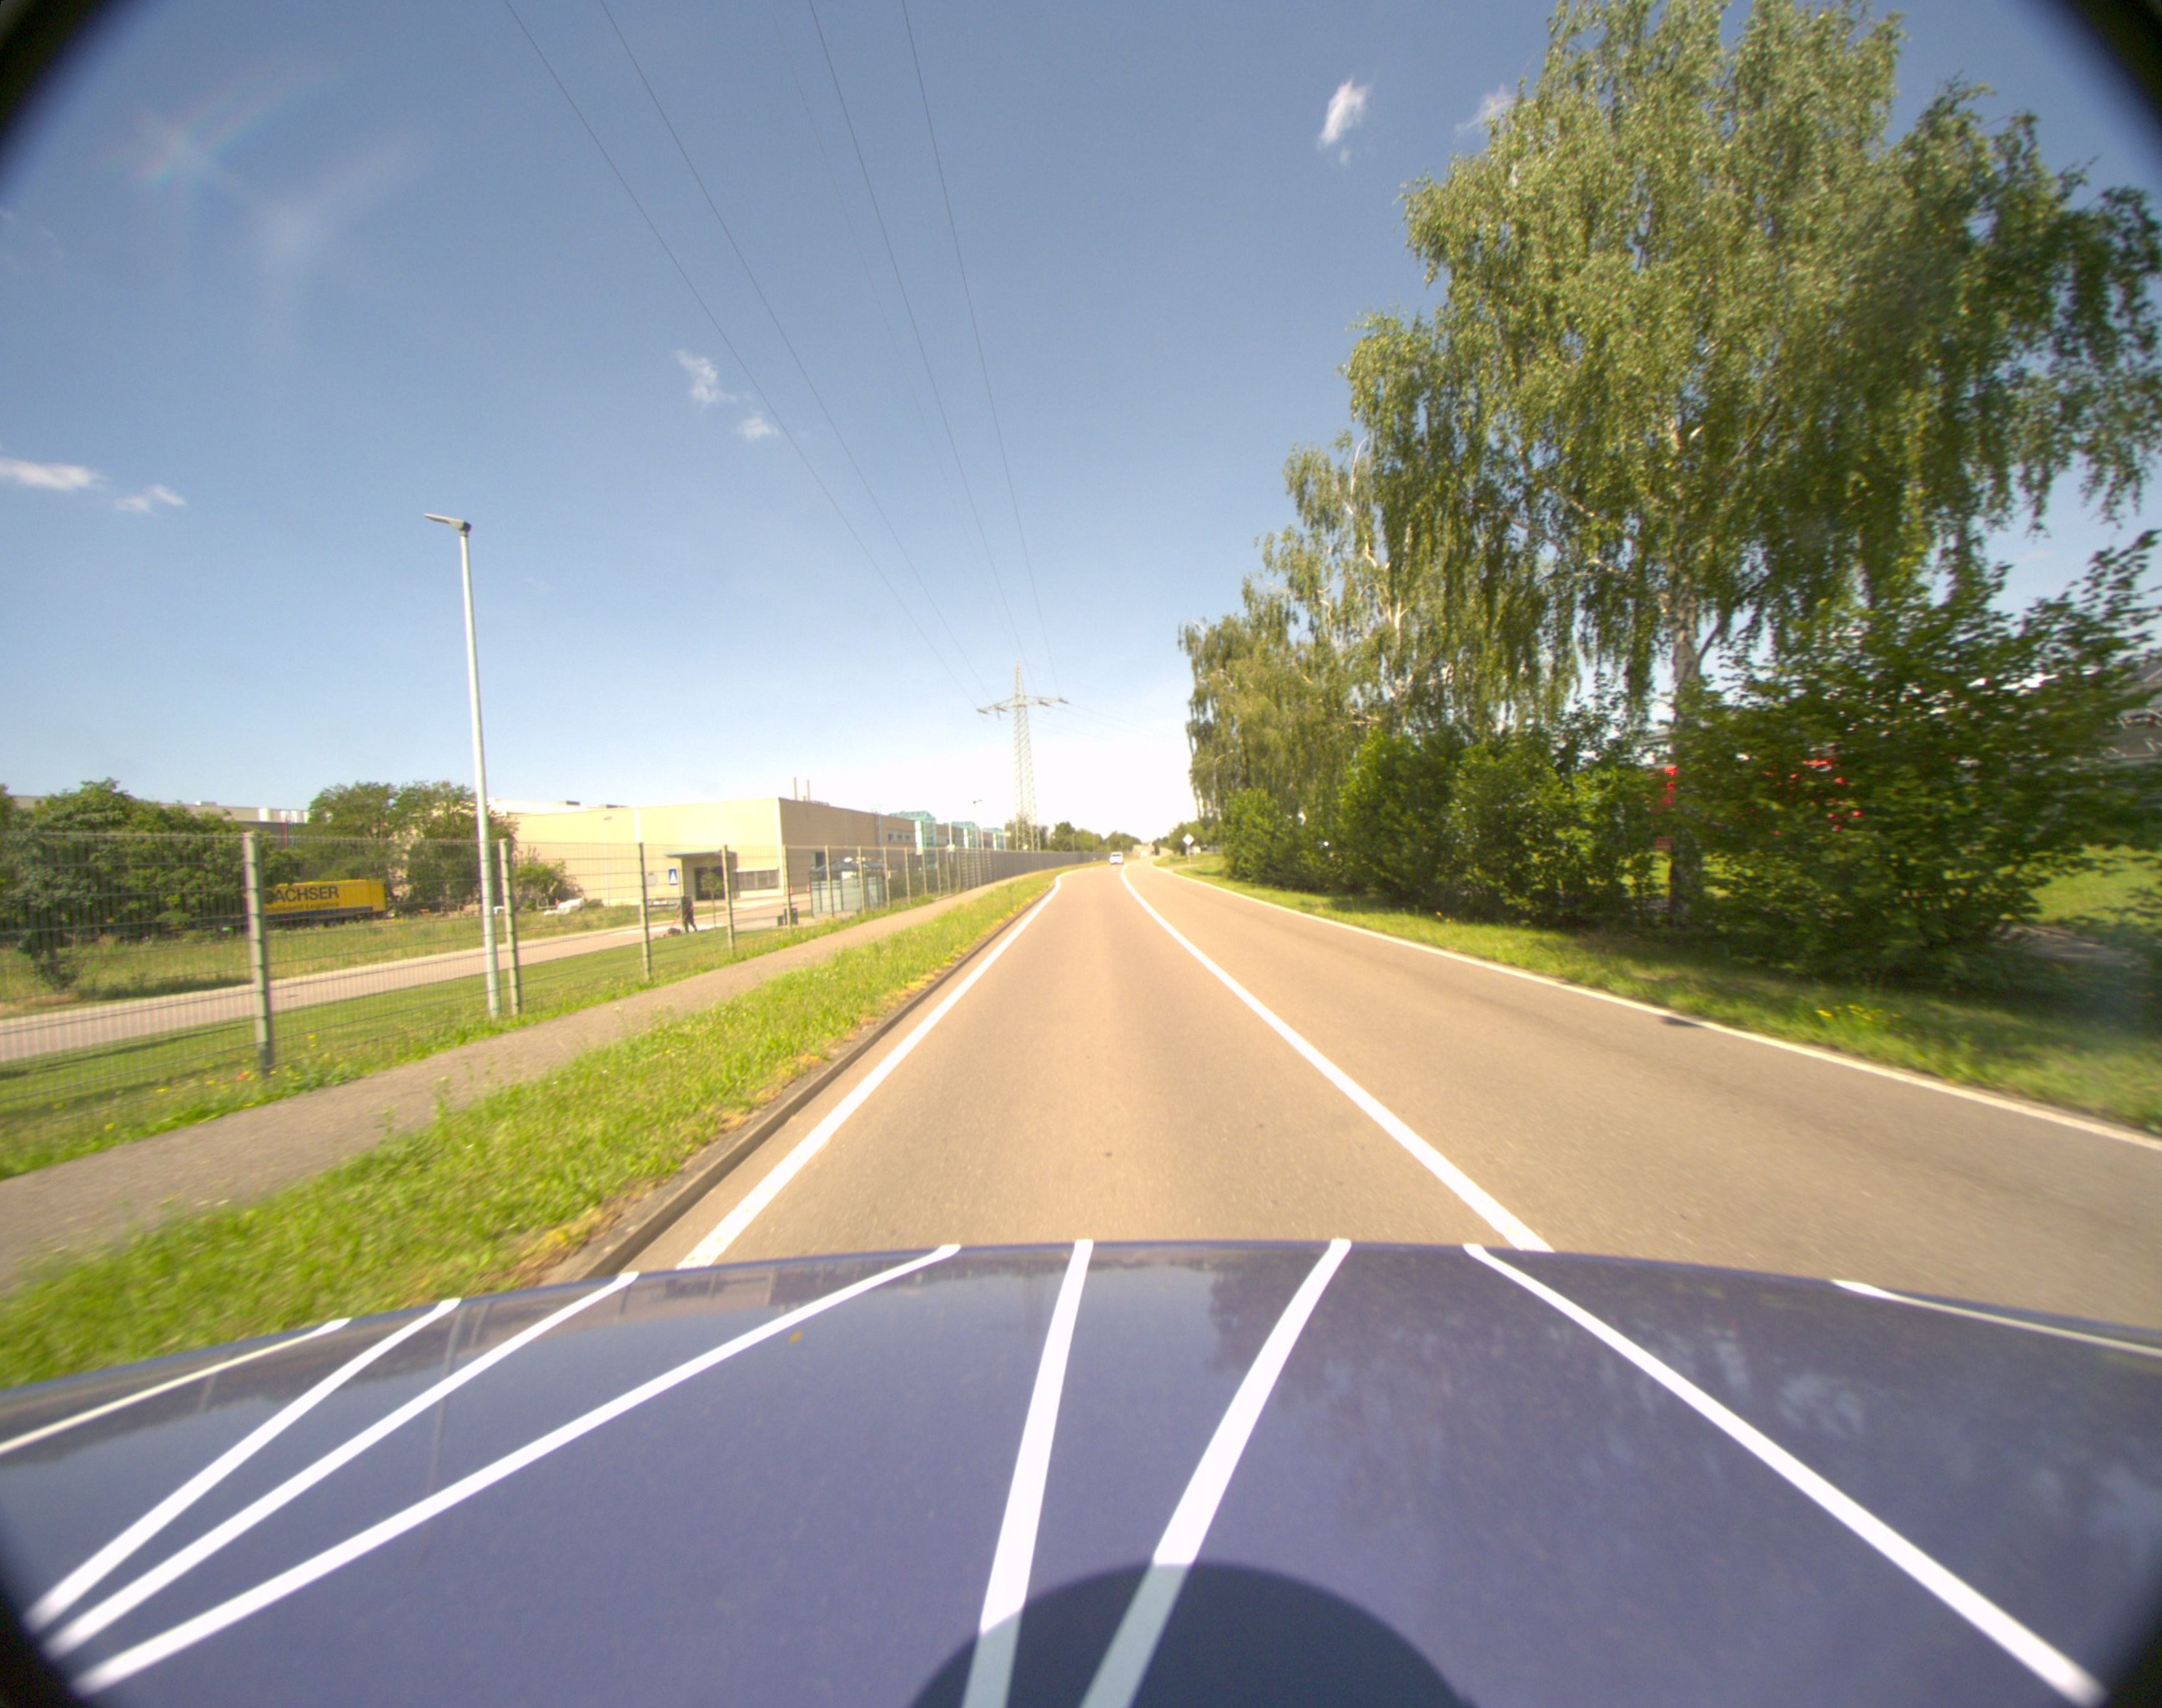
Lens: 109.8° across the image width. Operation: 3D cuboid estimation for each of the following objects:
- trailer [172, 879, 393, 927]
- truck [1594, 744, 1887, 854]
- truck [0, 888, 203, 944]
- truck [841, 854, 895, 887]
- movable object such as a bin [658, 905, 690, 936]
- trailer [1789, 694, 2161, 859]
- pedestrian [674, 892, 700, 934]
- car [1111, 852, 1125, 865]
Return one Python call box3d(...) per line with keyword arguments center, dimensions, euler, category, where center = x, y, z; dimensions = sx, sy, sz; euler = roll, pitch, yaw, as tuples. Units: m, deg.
box3d(center=(-62.701, 3.698, 60.609), dimensions=(1.998, 2.697, 14.099), euler=(-2, 1, 3), category="trailer")
box3d(center=(25.923, -1.915, 31.040), dimensions=(3.108, 3.624, 10.594), euler=(-2, 1, 3), category="truck")
box3d(center=(-63.305, 3.851, 46.801), dimensions=(1.998, 2.697, 13.738), euler=(-2, 1, 2), category="truck")
box3d(center=(-27.019, 1.962, 97.154), dimensions=(2.863, 3.720, 11.677), euler=(-2, 1, 3), category="truck")
box3d(center=(-17.432, 2.844, 32.584), dimensions=(0.420, 1.178, 1.568), euler=(-5, 0, 1), category="movable object such as a bin")
box3d(center=(25.383, -1.775, 18.308), dimensions=(3.298, 3.624, 14.926), euler=(-2, 1, 3), category="trailer")
box3d(center=(-17.442, 2.604, 33.669), dimensions=(0.592, 1.719, 0.792), euler=(-5, 1, 1), category="pedestrian")
box3d(center=(5.625, 0.617, 114.220), dimensions=(1.836, 1.796, 4.831), euler=(-2, 0, 5), category="car")
